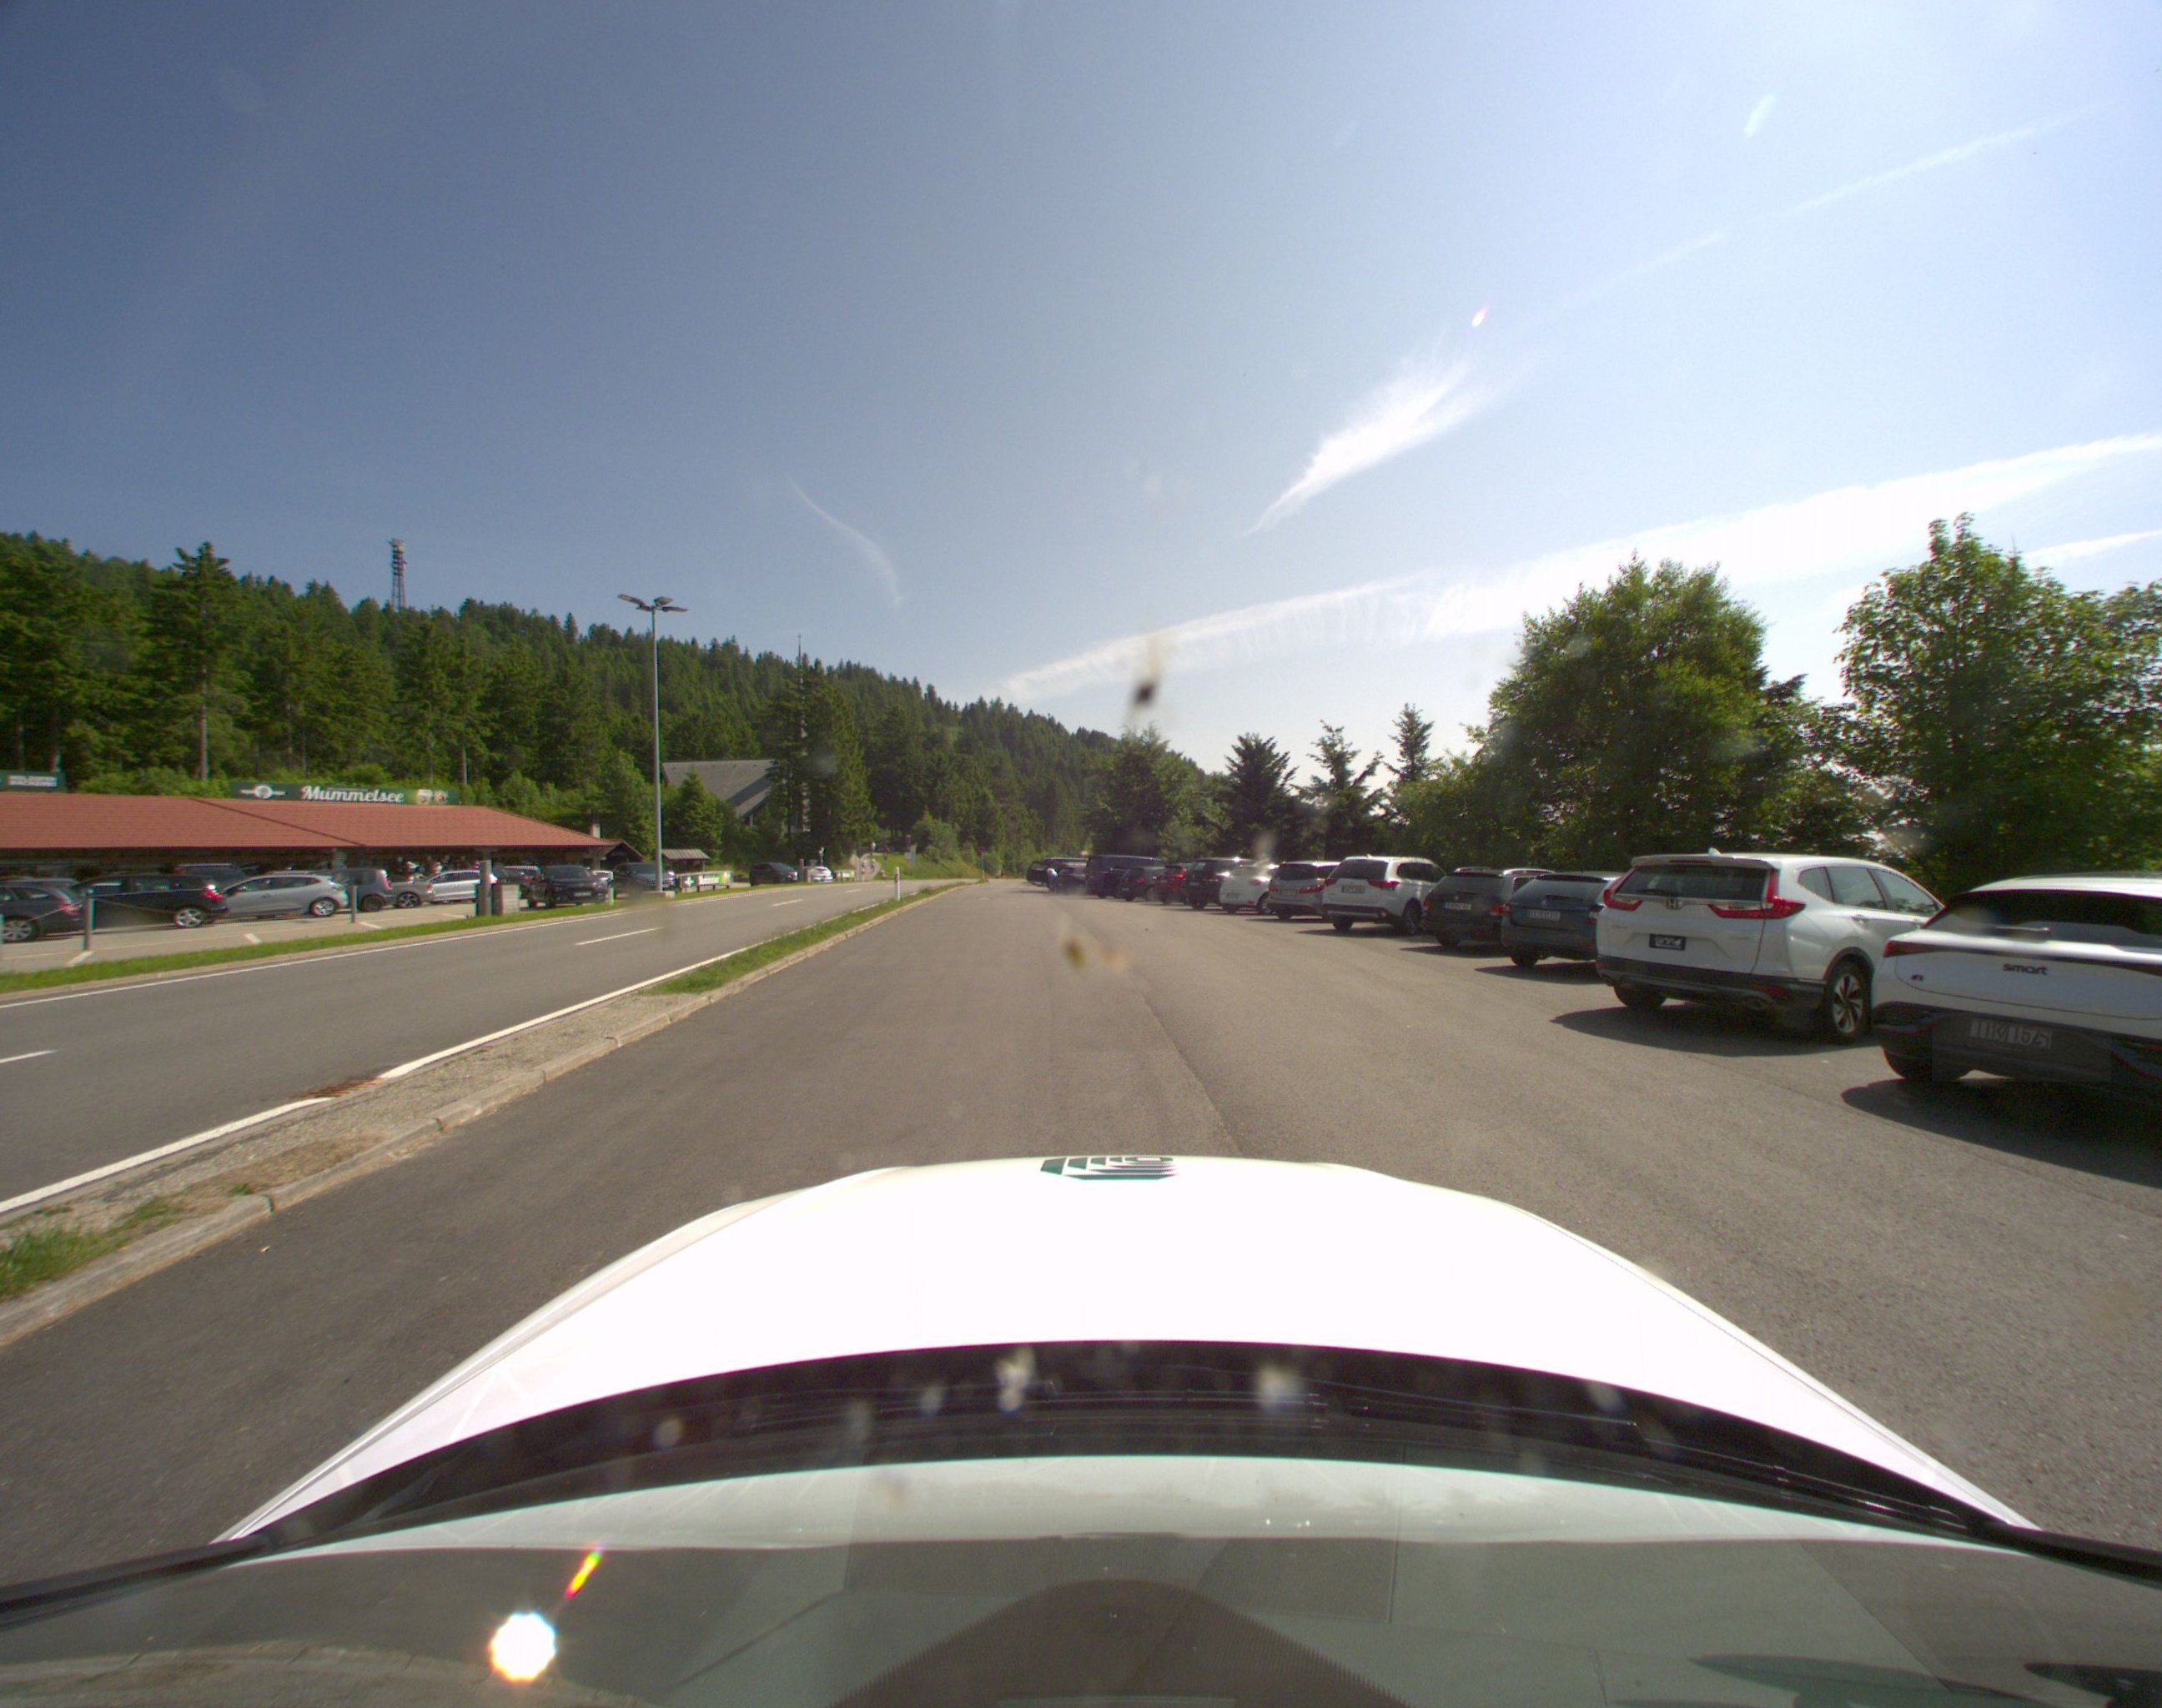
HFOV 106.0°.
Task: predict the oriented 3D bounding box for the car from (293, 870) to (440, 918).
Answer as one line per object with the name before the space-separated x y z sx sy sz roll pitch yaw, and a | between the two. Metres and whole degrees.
car | -27.378 1.479 31.293 1.875 1.545 4.025 -1 1 42

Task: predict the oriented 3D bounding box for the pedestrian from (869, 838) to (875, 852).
pedestrian | -29.967 -1.302 116.914 0.816 2.013 0.850 -2 0 -13

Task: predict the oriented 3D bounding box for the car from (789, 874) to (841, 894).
car | -19.870 2.241 60.830 3.919 1.441 1.755 -2 0 39

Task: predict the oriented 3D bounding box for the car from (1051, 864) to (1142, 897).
car | 0.746 1.269 39.374 4.007 1.443 1.824 2 -1 -26

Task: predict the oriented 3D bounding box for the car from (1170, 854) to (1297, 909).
car | 5.172 0.923 27.385 4.296 1.695 1.967 3 -2 -42

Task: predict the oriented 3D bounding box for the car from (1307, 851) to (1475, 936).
car | 7.162 0.849 18.611 4.249 1.695 1.841 2 -1 -42

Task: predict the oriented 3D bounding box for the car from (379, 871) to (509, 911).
car | -27.110 1.539 34.759 1.883 1.420 4.025 -2 0 41

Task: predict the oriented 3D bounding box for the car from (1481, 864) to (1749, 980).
car | 7.928 0.949 12.051 3.814 1.459 1.648 2 -1 -27

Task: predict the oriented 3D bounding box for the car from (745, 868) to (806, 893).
car | -20.415 1.782 54.328 4.156 1.634 1.800 -2 -2 35

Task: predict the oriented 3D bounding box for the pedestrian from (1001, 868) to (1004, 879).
pedestrian | -12.790 3.113 132.281 0.392 1.747 0.407 0 0 9

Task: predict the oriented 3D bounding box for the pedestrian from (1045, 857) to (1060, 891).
pedestrian | -1.505 1.062 42.749 0.579 1.761 0.630 3 -2 -13

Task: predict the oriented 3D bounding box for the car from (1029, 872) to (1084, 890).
car | -2.134 2.342 71.232 4.469 1.299 1.571 4 -2 -21

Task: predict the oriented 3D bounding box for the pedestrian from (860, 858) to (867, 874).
pedestrian | -23.684 1.324 88.813 0.653 1.667 0.640 -1 -3 -11

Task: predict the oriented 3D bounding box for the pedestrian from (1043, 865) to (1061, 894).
pedestrian | -1.448 1.283 40.632 0.770 1.402 0.669 -2 0 2

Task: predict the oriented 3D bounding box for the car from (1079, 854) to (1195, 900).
car | 2.505 1.045 36.294 4.778 1.880 1.951 2 -1 -24

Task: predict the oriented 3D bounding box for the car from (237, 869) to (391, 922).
car | -26.843 1.396 28.593 1.713 1.588 3.756 -1 1 41

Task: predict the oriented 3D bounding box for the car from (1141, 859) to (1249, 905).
car | 4.353 1.065 30.727 4.021 1.590 1.841 3 -2 -42

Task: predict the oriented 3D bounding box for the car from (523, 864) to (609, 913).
car | -18.035 1.141 28.437 1.793 1.552 3.951 -2 0 -43

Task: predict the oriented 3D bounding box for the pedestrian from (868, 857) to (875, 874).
pedestrian | -22.904 1.261 88.997 0.653 1.799 0.640 -1 0 -11

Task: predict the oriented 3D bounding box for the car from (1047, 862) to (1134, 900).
car | 0.517 1.407 42.157 4.013 1.662 1.980 5 -3 -32

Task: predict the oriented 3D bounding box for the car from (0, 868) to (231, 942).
car | -26.194 1.303 22.228 4.023 1.704 1.803 -2 1 -45

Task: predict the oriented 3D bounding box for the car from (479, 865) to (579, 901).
car | -29.223 1.505 43.202 1.753 1.672 4.056 -3 -1 39

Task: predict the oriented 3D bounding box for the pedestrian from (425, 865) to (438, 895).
pedestrian | -40.845 1.623 51.229 0.540 1.874 0.531 -2 -2 38

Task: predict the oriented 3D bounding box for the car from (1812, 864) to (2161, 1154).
car | 7.361 0.837 5.413 4.096 1.500 1.932 1 -1 -18

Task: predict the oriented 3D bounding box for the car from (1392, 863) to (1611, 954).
car | 7.908 0.972 15.219 4.066 1.461 1.875 3 -1 -33

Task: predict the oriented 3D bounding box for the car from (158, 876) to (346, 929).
car | -26.137 1.464 25.776 1.789 1.371 4.025 -1 1 40

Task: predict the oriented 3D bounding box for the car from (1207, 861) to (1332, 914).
car | 5.879 1.031 25.133 4.021 1.476 1.746 3 -2 -42

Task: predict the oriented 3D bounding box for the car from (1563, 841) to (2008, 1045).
car | 7.210 0.803 8.324 4.191 1.650 1.876 2 -1 -25

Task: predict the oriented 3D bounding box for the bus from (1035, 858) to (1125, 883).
bus | -0.144 2.377 119.659 12.774 3.578 2.992 0 1 12

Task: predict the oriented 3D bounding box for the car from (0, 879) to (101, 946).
car | -26.170 1.435 19.044 1.694 1.486 4.105 -1 1 40

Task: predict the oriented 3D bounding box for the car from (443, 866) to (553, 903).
car | -28.692 1.480 40.195 1.974 1.574 4.025 -2 0 40

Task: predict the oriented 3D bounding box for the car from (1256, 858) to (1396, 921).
car | 6.733 0.956 22.140 4.021 1.549 1.798 3 -2 -42

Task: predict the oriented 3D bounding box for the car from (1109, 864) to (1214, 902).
car | 3.309 1.189 33.178 4.013 1.415 1.727 3 -1 -32

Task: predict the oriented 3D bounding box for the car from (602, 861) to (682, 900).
car | -18.932 1.124 35.042 4.008 1.567 1.751 -1 -1 41

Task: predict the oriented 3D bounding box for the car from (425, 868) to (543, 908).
car | -27.593 1.522 37.707 1.974 1.574 4.025 -2 0 41
